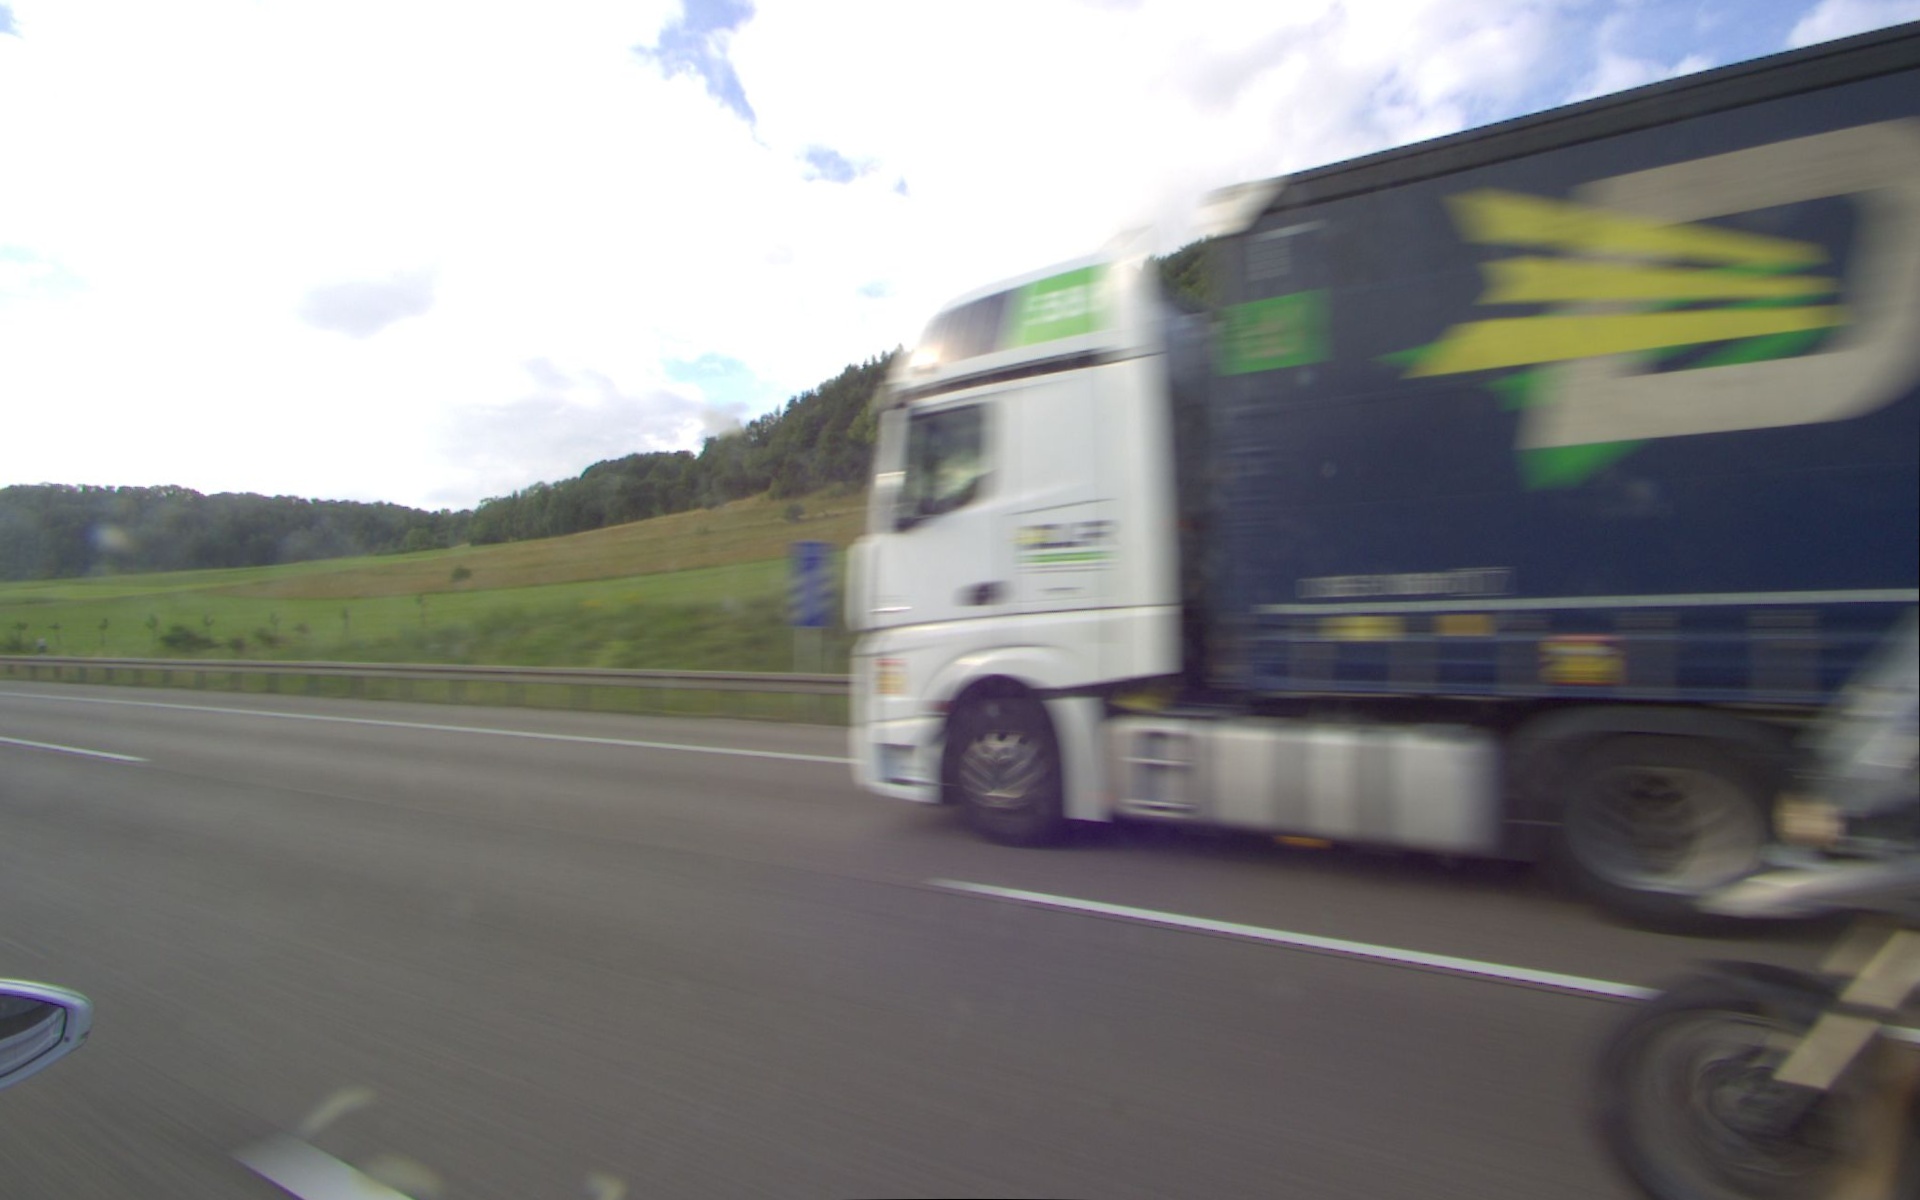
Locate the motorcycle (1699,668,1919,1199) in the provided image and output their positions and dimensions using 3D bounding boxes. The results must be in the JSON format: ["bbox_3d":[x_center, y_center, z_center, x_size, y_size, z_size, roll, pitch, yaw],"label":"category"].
[{"bbox_3d":[2.439,0.833,1.827,1.715,1.356,0.625,-1,-1,34],"label":"motorcycle"}]

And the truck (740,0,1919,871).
[{"bbox_3d":[6.402,-0.879,4.456,17.480,4.043,2.959,-1,-1,33],"label":"truck"}]
